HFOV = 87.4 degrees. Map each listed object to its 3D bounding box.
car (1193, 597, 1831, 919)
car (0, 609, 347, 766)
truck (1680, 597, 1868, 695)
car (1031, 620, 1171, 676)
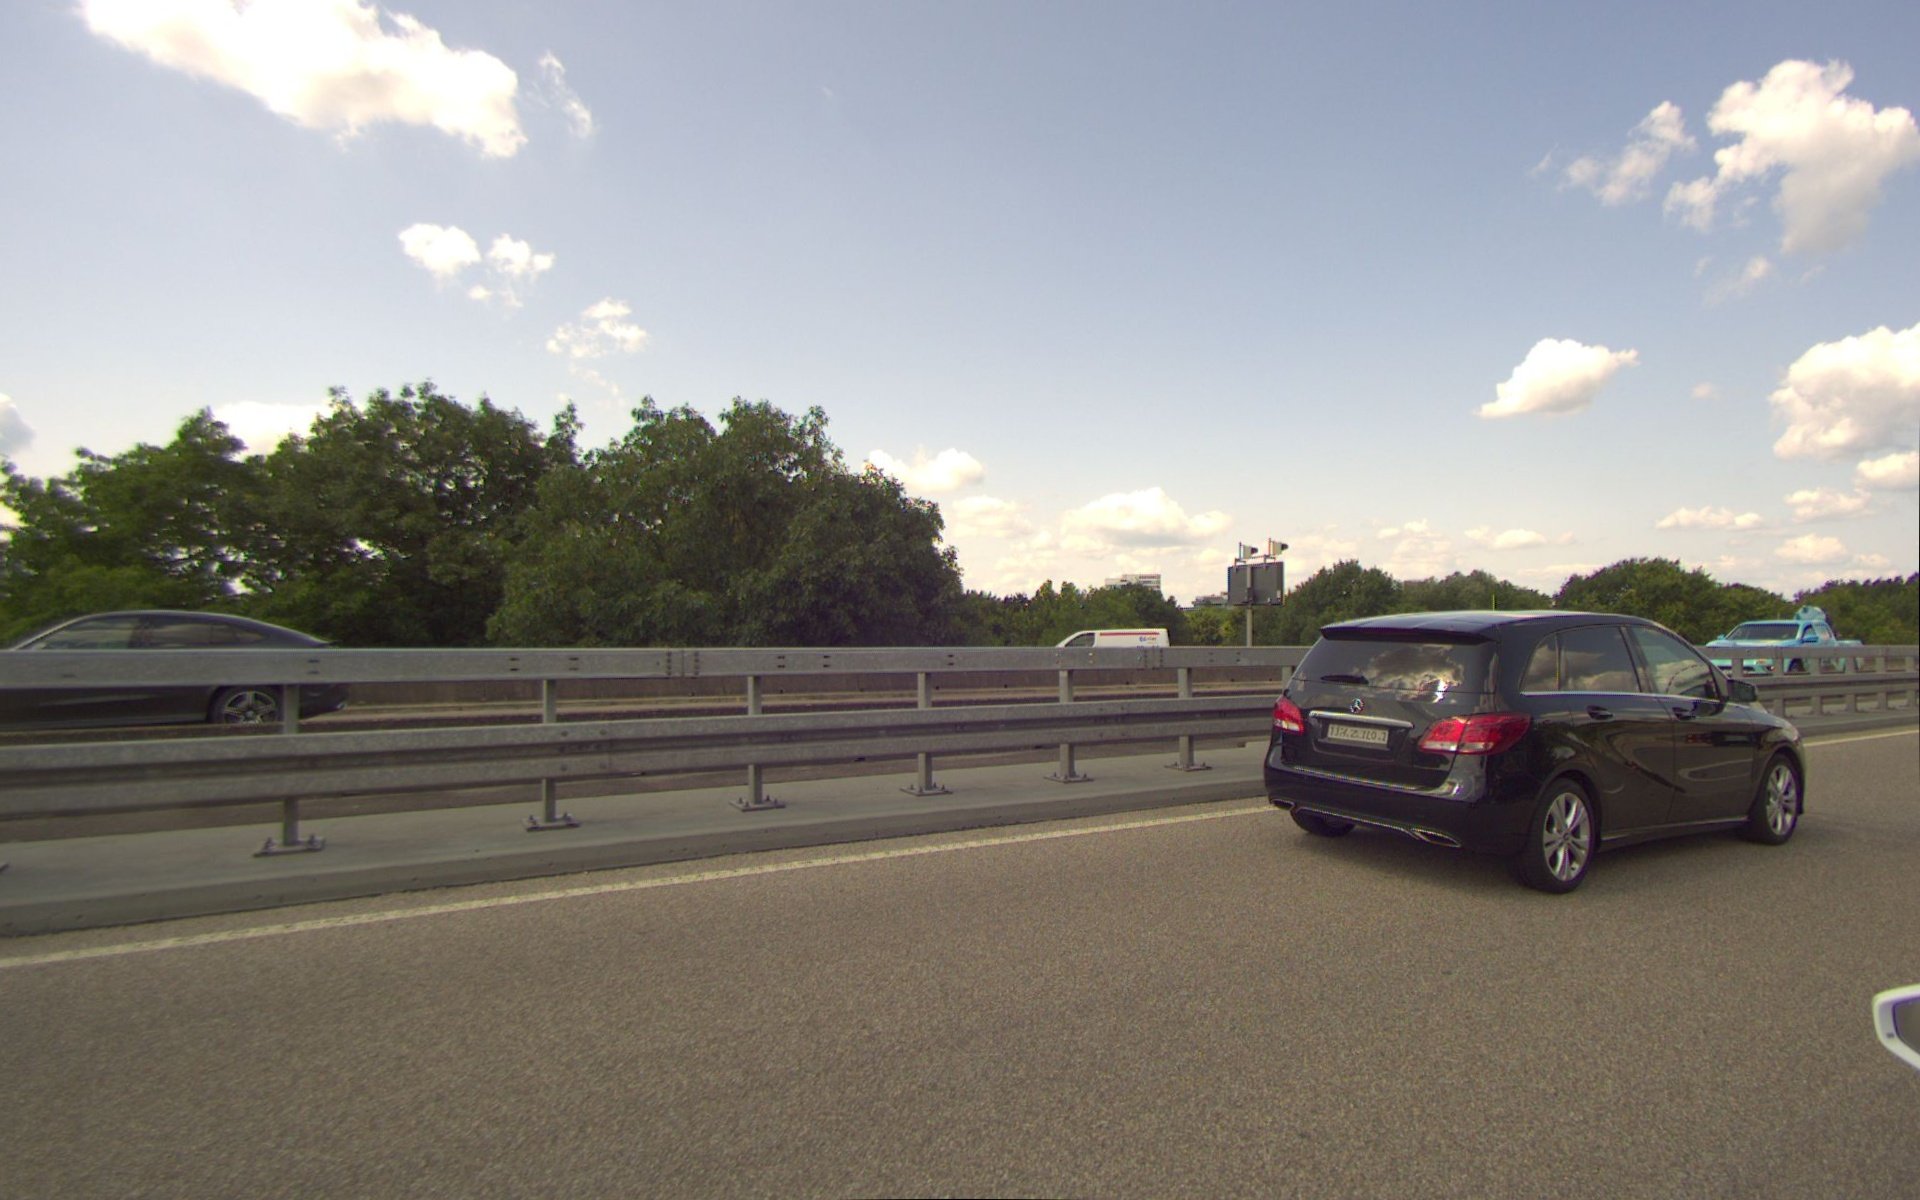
[{"bbox_3d":[3.851,0.807,6.761,4.540,1.548,1.703,1,0,-31],"label":"car"},{"bbox_3d":[-10.028,0.970,12.113,4.464,1.662,1.880,1,0,-33],"label":"car"},{"bbox_3d":[20.193,1.091,24.859,5.126,2.216,1.864,1,0,-30],"label":"truck"},{"bbox_3d":[5.310,1.797,38.309,5.065,1.923,2.000,1,0,2],"label":"car"}]
